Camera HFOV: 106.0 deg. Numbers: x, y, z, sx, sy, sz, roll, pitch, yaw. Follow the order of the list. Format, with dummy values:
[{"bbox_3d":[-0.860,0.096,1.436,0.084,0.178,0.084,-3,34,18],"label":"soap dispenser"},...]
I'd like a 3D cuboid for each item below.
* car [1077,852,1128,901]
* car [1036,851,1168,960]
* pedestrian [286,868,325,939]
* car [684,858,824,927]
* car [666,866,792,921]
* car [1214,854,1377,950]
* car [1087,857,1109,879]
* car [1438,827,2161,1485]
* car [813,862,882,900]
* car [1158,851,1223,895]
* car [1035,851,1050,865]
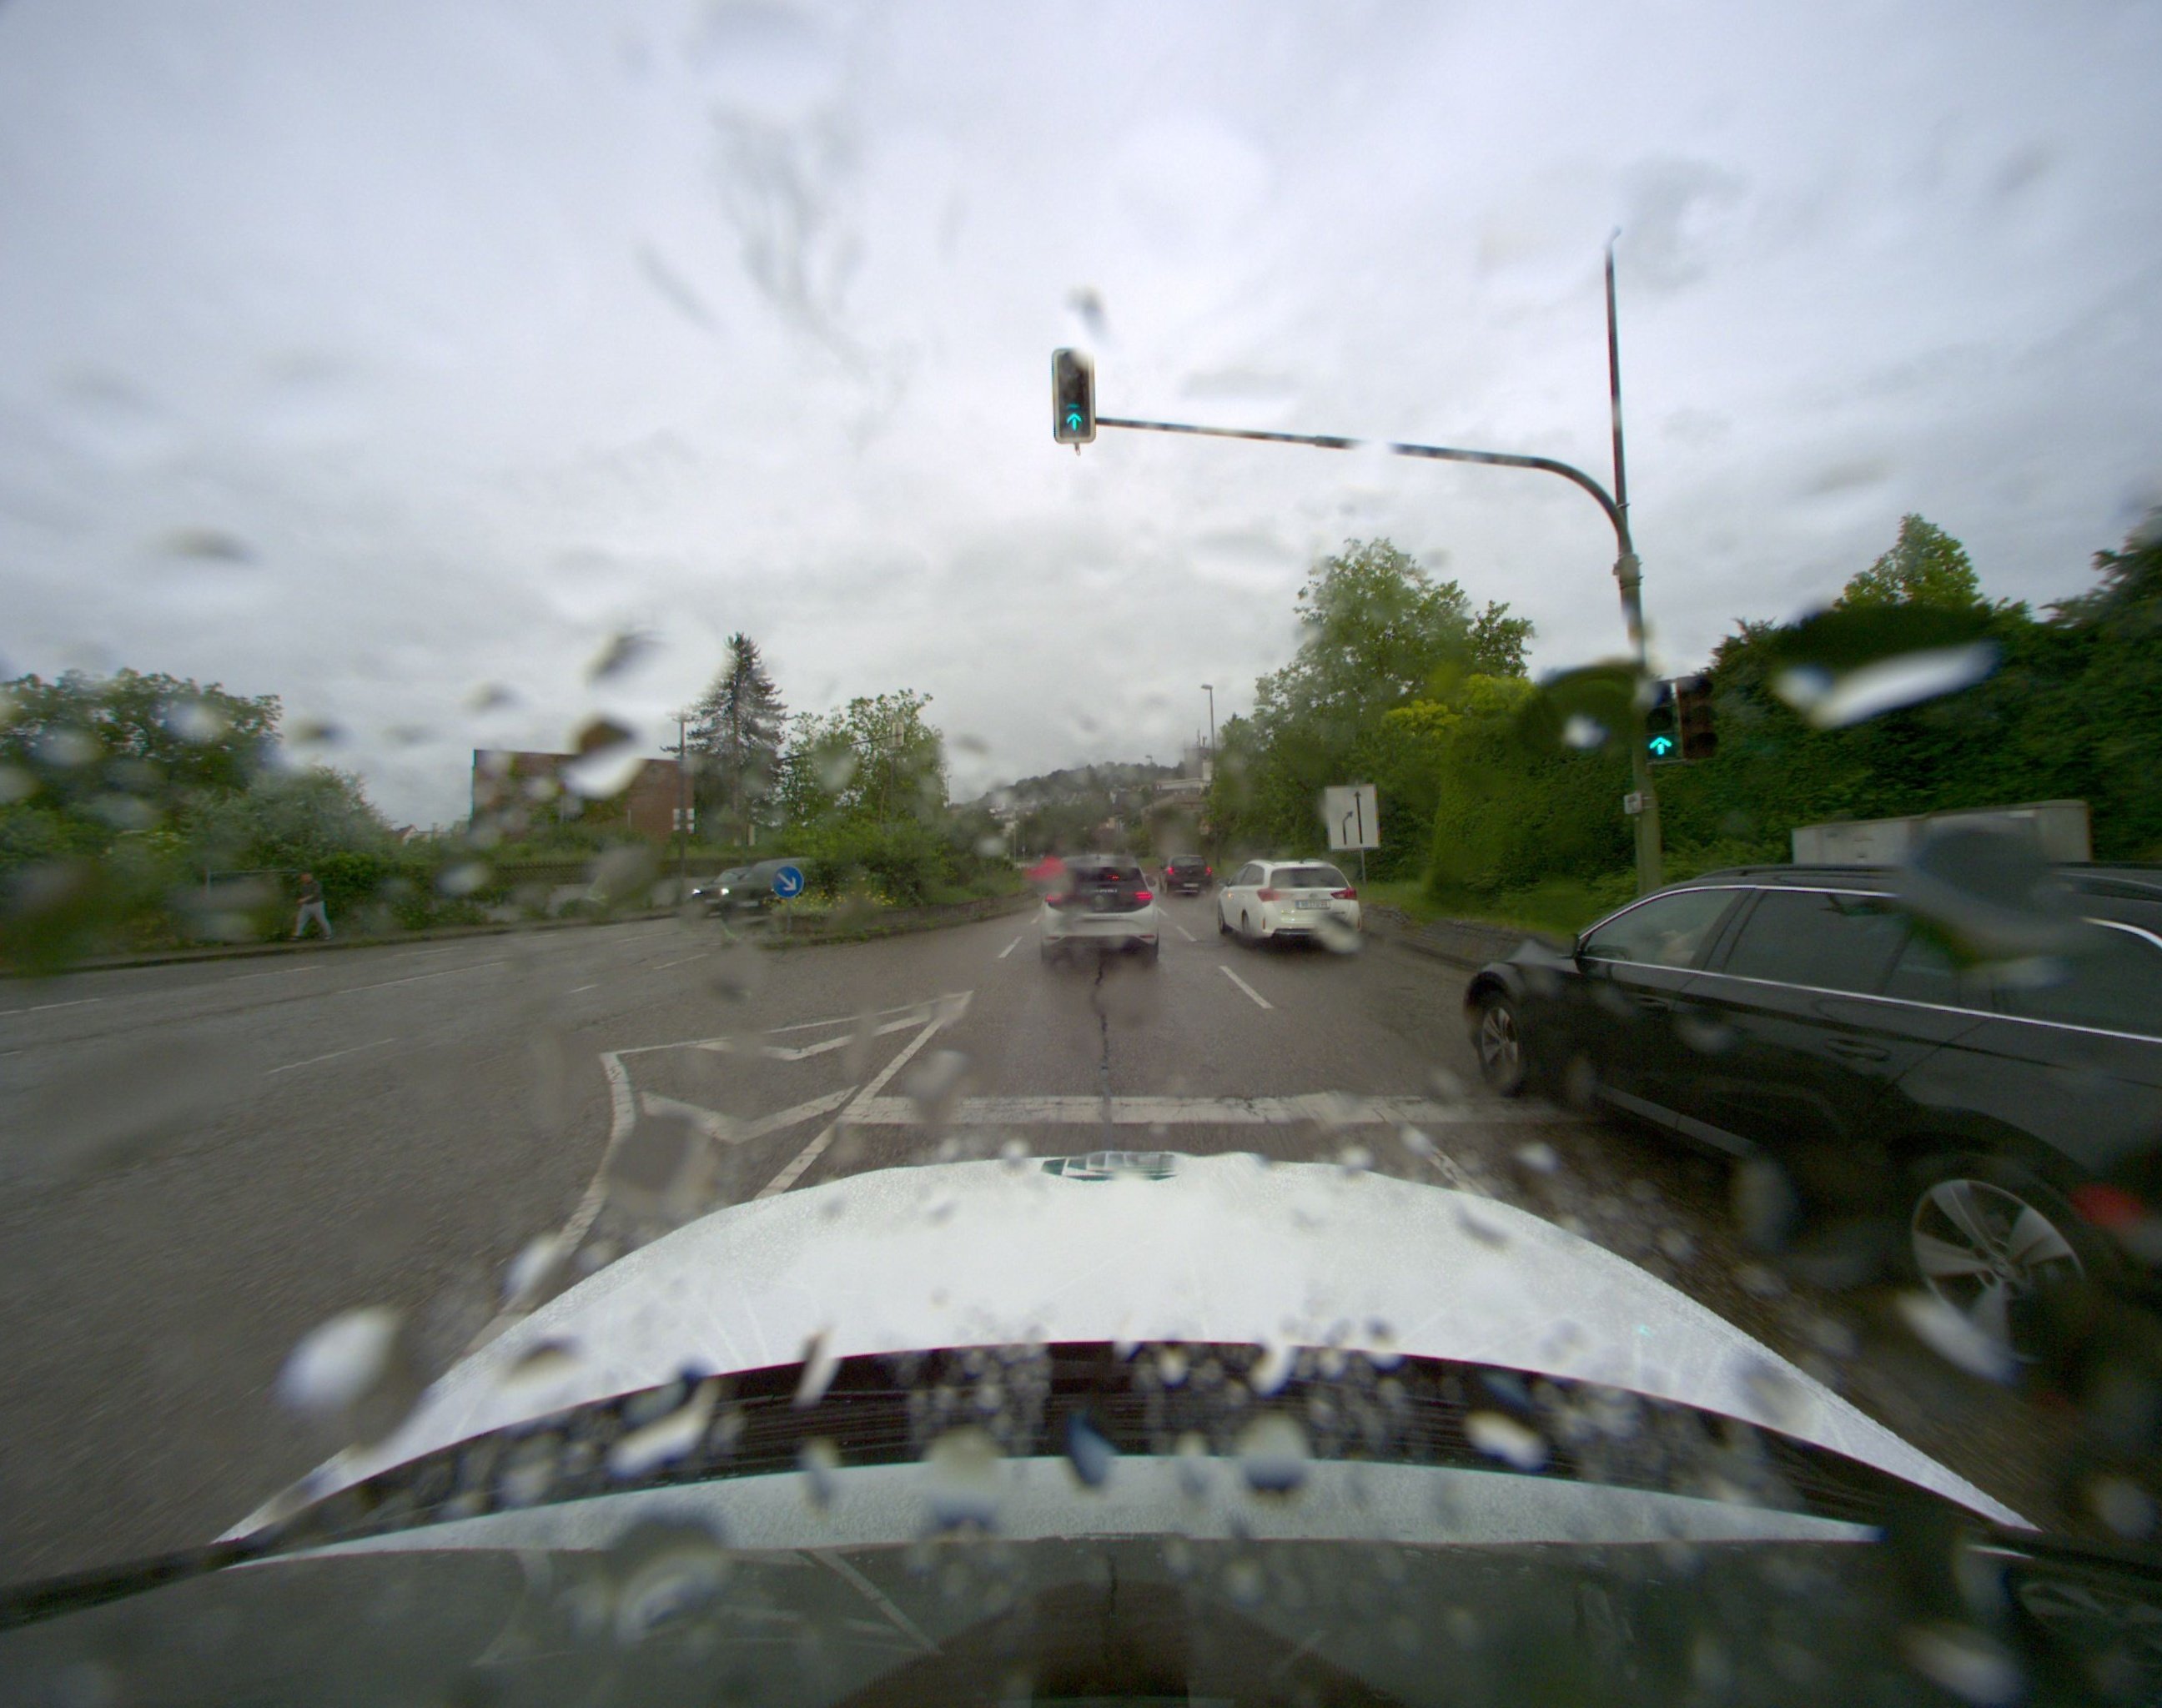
[{"bbox_3d":[0.672,0.713,27.695,1.562,1.530,3.998,-1,0,-1],"label":"car"},{"bbox_3d":[0.355,0.750,13.461,1.822,1.500,4.169,-1,-1,2],"label":"car"},{"bbox_3d":[-18.612,1.188,19.545,0.546,1.642,0.503,-4,-1,32],"label":"pedestrian"},{"bbox_3d":[-8.326,0.927,21.172,1.896,1.552,4.075,-2,-1,1],"label":"car"},{"bbox_3d":[-10.969,1.173,25.740,1.943,1.478,4.297,-3,-1,2],"label":"car"},{"bbox_3d":[3.542,0.747,14.277,1.841,1.410,4.303,-1,-1,2],"label":"car"},{"bbox_3d":[1.645,1.332,76.559,1.986,2.014,4.001,0,-1,2],"label":"car"},{"bbox_3d":[3.509,0.740,3.594,1.947,1.507,4.609,1,-1,1],"label":"car"},{"bbox_3d":[-10.945,1.233,38.467,1.987,1.578,4.000,-2,0,0],"label":"car"},{"bbox_3d":[4.044,0.705,30.741,1.986,1.453,3.772,-3,-1,2],"label":"car"},{"bbox_3d":[-5.606,0.638,119.823,1.987,2.014,3.998,0,-1,0],"label":"car"}]
